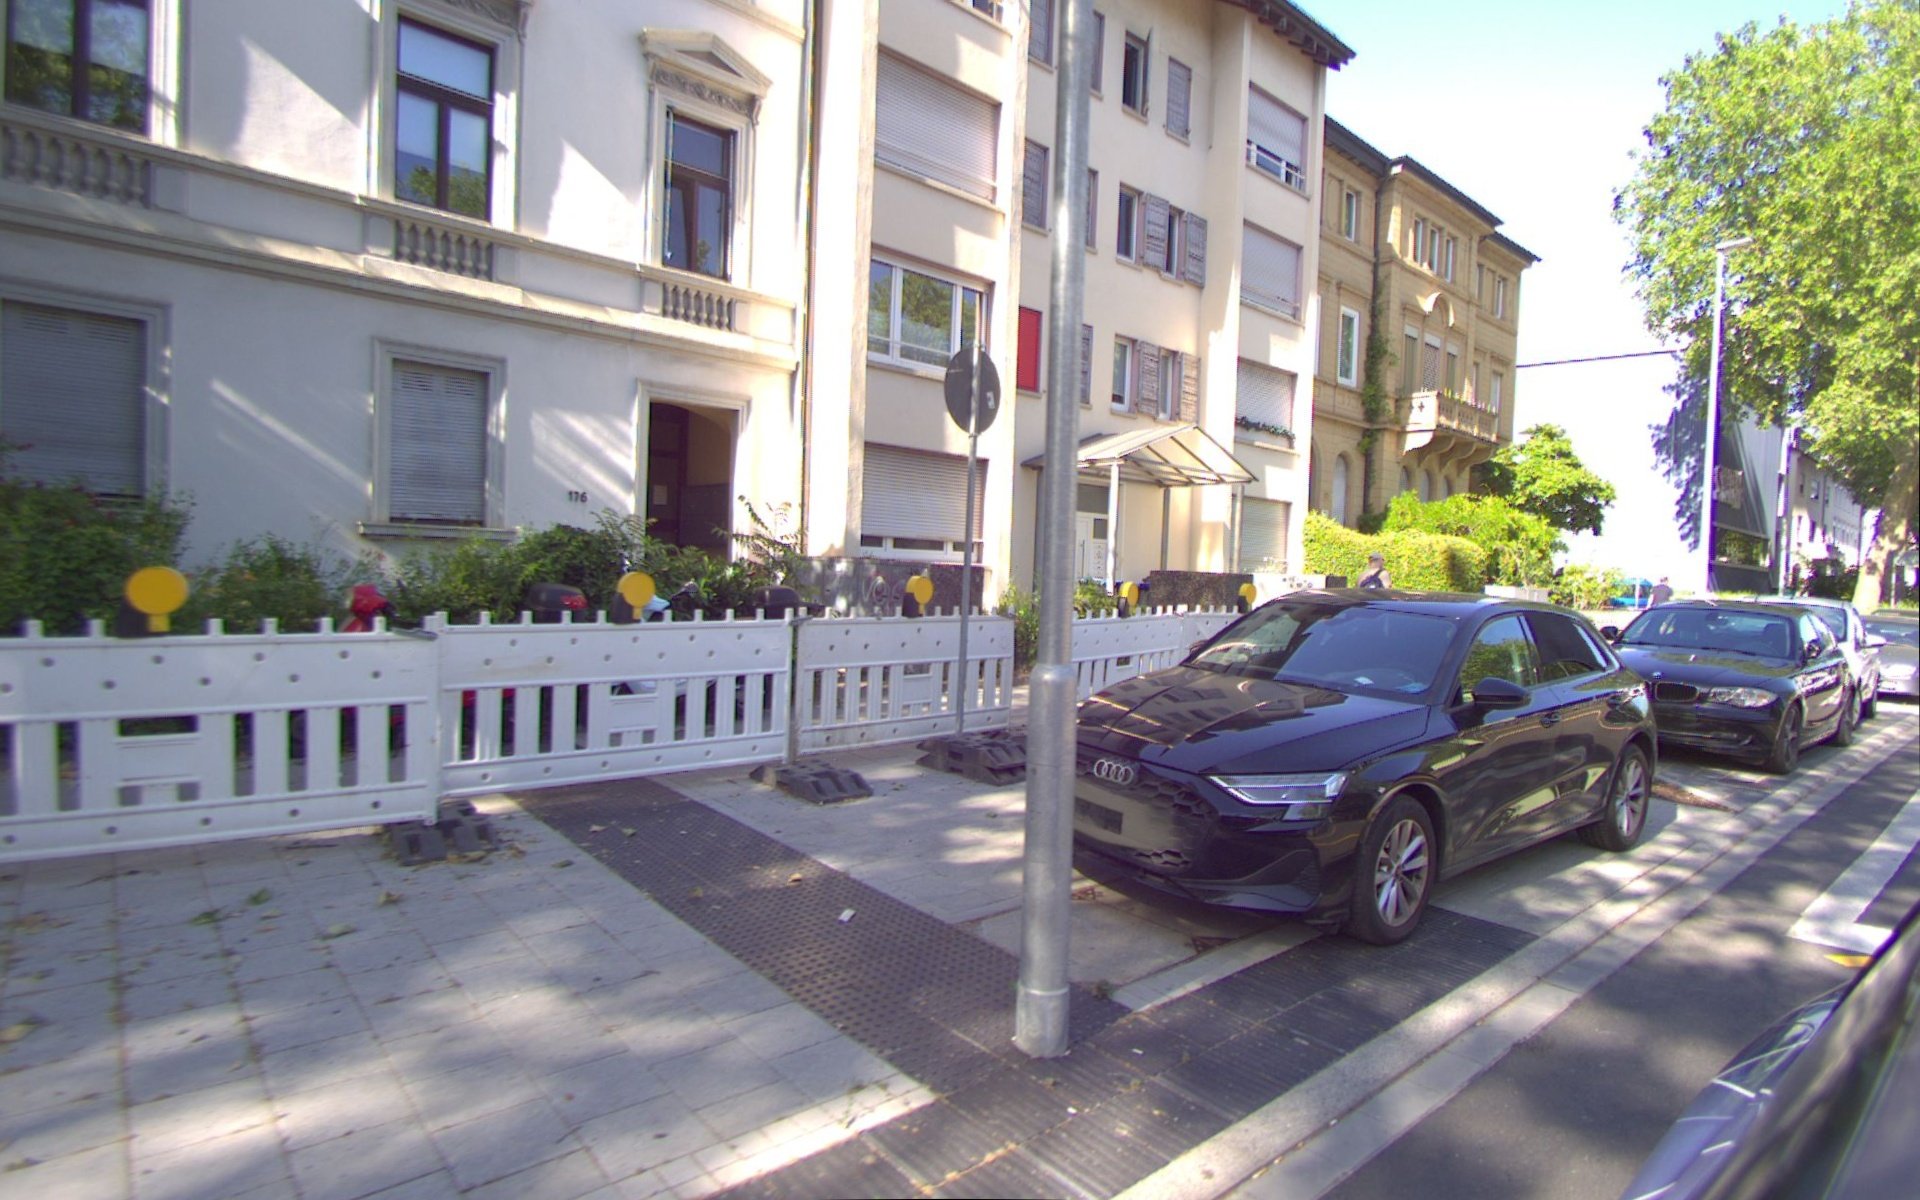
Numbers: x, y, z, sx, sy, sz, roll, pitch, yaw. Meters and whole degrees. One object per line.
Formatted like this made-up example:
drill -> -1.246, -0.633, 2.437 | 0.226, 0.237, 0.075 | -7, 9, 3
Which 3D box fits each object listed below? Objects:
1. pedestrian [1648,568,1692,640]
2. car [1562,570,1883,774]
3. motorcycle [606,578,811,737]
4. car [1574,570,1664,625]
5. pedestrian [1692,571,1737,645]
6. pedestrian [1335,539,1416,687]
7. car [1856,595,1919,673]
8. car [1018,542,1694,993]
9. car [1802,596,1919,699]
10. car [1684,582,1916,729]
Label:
pedestrian -> 18.484, 0.104, 26.364 | 0.788, 1.818, 0.698 | 1, 2, -41
car -> 7.460, 0.550, 9.756 | 3.986, 1.503, 1.623 | 0, 4, -41
motorcycle -> -2.075, 0.443, 8.422 | 1.525, 1.201, 0.599 | 1, 1, -34
car -> 23.976, -0.150, 36.968 | 1.777, 1.844, 3.975 | 3, 2, 19
pedestrian -> 19.069, 0.195, 25.571 | 0.702, 1.818, 0.698 | 1, 2, -41
pedestrian -> 5.462, 0.150, 13.313 | 0.682, 1.872, 0.666 | 1, 2, -41
car -> 20.169, 0.705, 20.991 | 4.398, 1.429, 1.721 | 0, 5, -41
car -> 2.341, 0.550, 5.401 | 4.026, 1.503, 1.623 | 0, 4, -41
car -> 15.349, 0.715, 16.582 | 3.978, 1.429, 1.720 | 0, 4, -41
car -> 10.705, 0.598, 12.815 | 3.669, 1.503, 1.623 | 0, 4, -41
